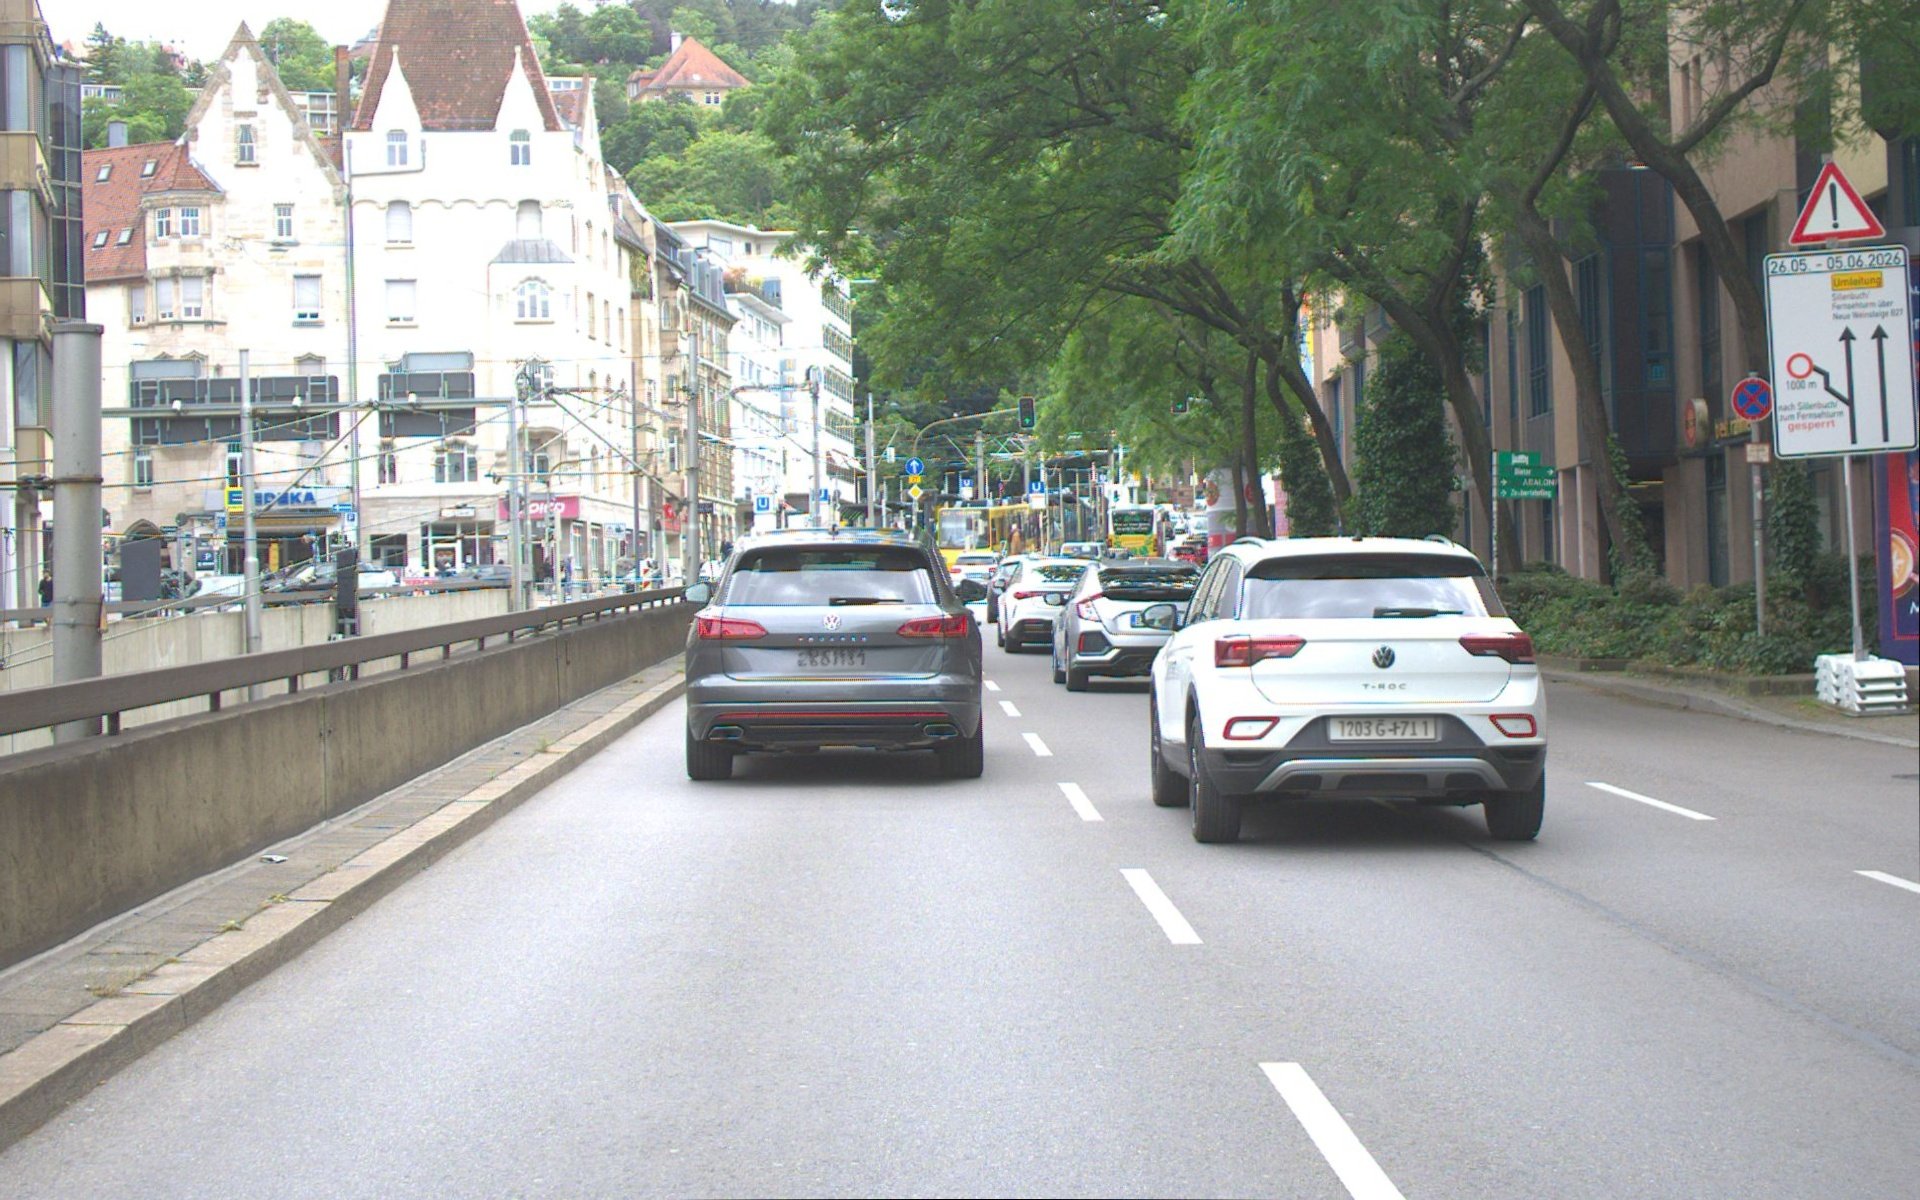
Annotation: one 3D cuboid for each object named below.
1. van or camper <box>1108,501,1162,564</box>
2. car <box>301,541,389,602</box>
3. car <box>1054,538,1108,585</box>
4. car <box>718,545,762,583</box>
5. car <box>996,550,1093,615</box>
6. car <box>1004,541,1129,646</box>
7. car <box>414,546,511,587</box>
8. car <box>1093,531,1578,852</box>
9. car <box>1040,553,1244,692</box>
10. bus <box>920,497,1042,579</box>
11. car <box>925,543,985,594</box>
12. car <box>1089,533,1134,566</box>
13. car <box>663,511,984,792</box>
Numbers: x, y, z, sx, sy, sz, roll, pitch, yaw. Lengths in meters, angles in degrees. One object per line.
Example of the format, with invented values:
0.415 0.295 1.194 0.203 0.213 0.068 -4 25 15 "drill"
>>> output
9.135 -3.506 178.606 2.628 3.167 5.802 -1 1 4 "van or camper"
-18.805 -0.883 105.200 1.993 1.761 4.000 -2 1 -1 "car"
5.136 -1.630 145.185 1.832 1.868 4.869 -2 1 6 "car"
-9.857 -1.618 153.900 1.818 1.641 4.001 -2 1 -5 "car"
1.873 -0.401 77.100 1.832 1.358 3.767 -3 1 -3 "car"
1.651 -0.120 54.467 1.832 1.512 3.767 -3 1 1 "car"
-20.919 -1.407 144.589 3.986 1.641 1.825 -1 1 -9 "car"
1.897 0.452 18.561 1.797 1.540 3.936 0 0 -6 "car"
1.950 0.210 37.959 1.833 1.427 4.148 -1 1 -3 "car"
1.149 -2.943 162.215 3.850 3.520 17.242 -2 1 7 "bus"
-0.179 -1.036 111.706 1.832 1.561 3.767 -3 1 -1 "car"
6.966 -2.328 157.974 1.844 1.464 3.999 -1 1 5 "car"
-0.958 0.265 23.620 1.970 1.689 4.225 -1 2 -3 "car"
